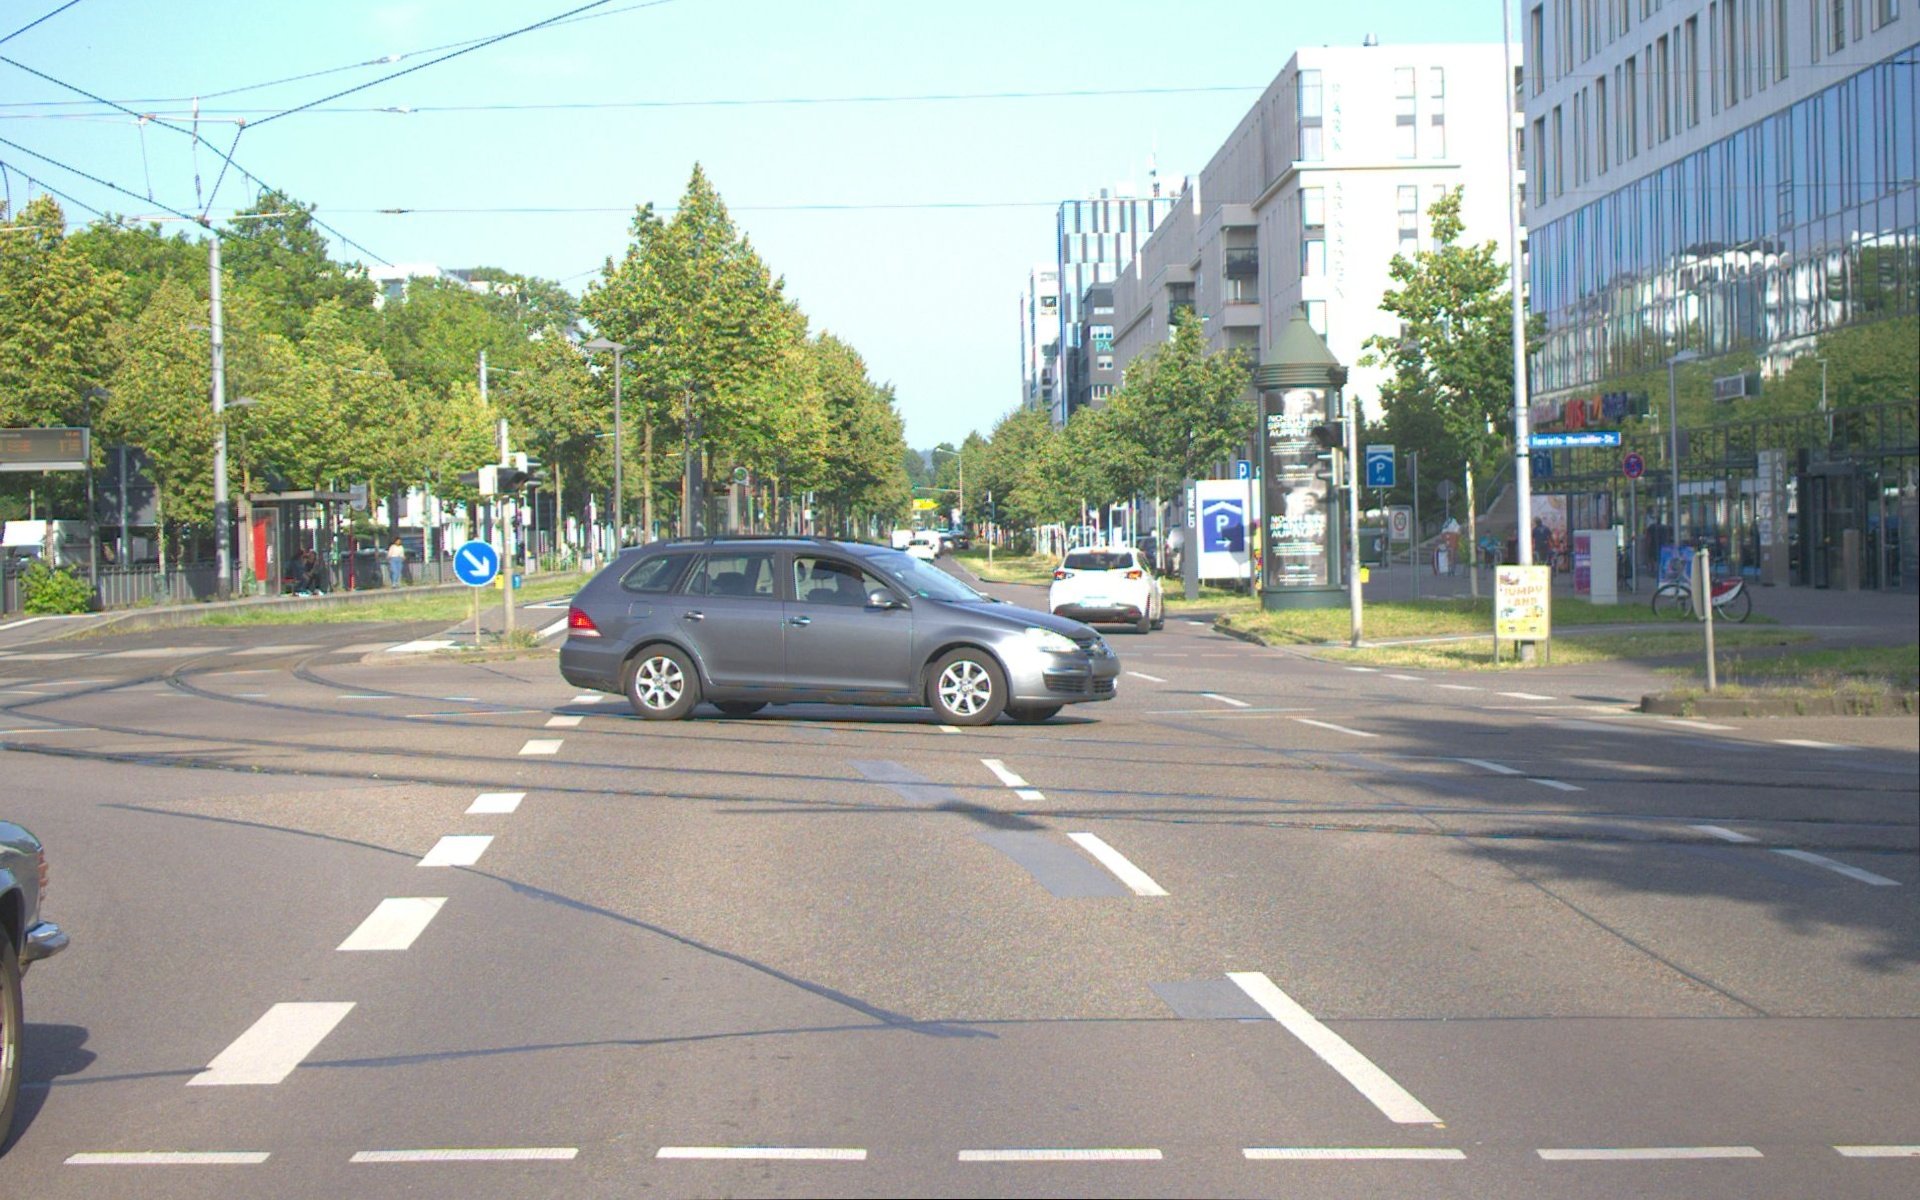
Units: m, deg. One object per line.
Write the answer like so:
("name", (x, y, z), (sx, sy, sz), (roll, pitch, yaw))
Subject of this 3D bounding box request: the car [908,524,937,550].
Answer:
("car", (-2.481, -4.228, 229.539), (1.864, 1.678, 4.000), (1, 2, 0))

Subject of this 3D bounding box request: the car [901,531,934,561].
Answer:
("car", (-2.464, -3.135, 199.840), (1.864, 1.678, 4.000), (1, 2, 0))

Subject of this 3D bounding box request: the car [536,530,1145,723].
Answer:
("car", (-0.958, 0.177, 27.548), (4.564, 1.456, 1.733), (0, 1, 20))

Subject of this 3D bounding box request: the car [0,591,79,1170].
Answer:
("car", (-3.070, 0.694, 6.517), (1.763, 1.325, 4.400), (1, 2, -1))

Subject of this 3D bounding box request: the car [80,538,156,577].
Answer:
("car", (-35.064, -1.791, 143.310), (1.881, 1.554, 3.999), (-1, 1, 5))

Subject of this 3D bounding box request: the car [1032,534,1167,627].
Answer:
("car", (2.443, -0.332, 59.329), (1.994, 1.499, 4.092), (-1, 0, 6))

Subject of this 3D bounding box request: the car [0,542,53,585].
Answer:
("car", (-35.689, -1.377, 129.095), (1.881, 1.554, 3.999), (-1, 1, 5))

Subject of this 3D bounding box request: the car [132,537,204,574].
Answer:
("car", (-34.412, -1.954, 149.513), (1.881, 1.554, 3.999), (-1, 1, 5))

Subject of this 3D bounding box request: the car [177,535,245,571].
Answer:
("car", (-33.939, -2.126, 155.935), (1.881, 1.554, 3.999), (-1, 1, 5))

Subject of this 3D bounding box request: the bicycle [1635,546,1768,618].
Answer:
("bicycle", (11.409, -0.286, 52.966), (0.771, 1.028, 1.878), (-2, 4, -44))
